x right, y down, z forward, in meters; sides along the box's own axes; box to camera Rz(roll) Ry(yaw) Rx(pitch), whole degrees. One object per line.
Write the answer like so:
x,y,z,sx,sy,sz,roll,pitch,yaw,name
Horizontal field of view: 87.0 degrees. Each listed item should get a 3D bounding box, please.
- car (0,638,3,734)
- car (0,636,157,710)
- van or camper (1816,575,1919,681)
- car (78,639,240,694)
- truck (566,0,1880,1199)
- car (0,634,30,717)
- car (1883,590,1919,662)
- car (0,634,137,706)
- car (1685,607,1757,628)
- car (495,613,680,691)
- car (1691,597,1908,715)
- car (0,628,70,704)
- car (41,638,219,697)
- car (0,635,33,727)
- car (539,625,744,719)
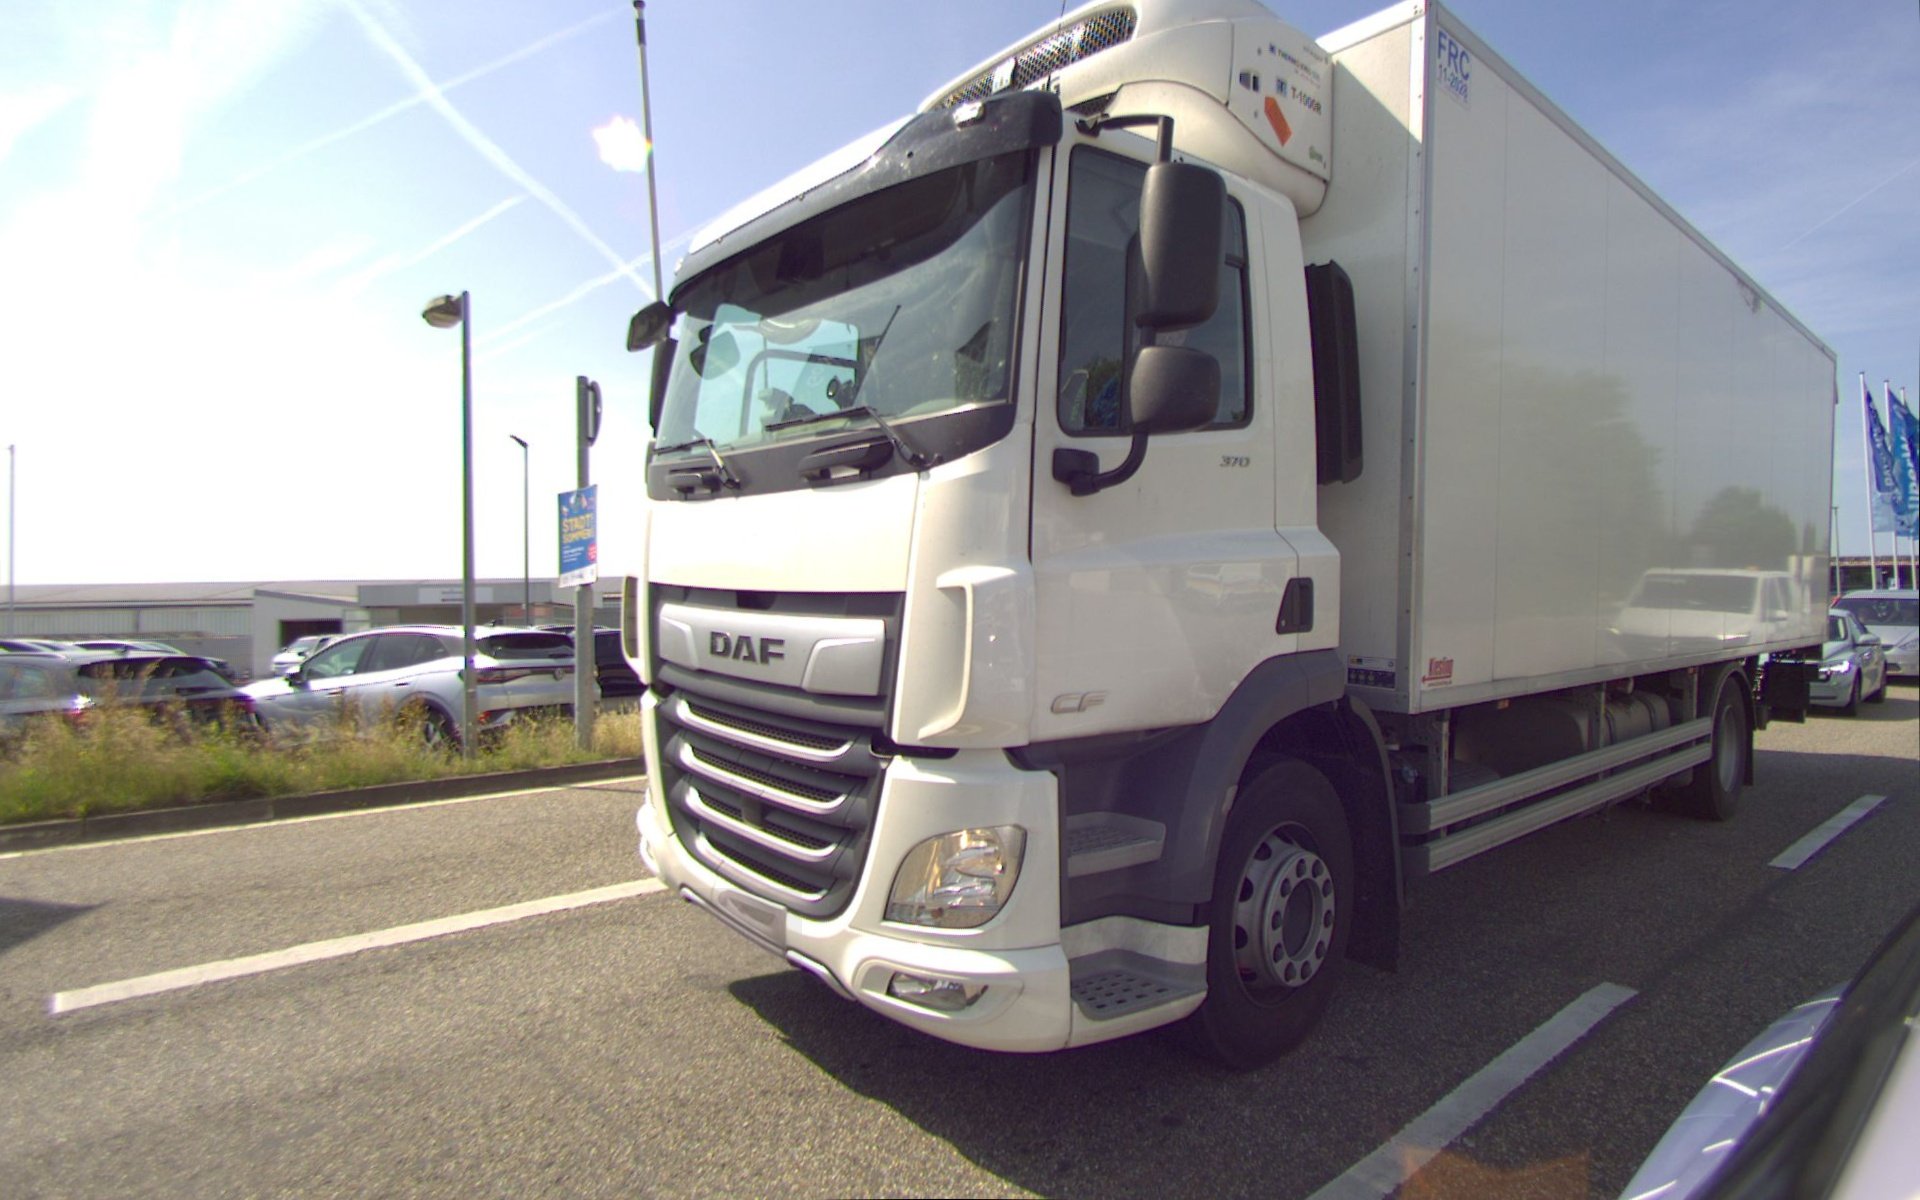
-15.746,1.321,14.022,3.533,1.427,1.561,0,1,-41,car
-21.942,1.737,24.566,3.614,1.608,1.565,0,1,-28,car
18.030,0.492,19.334,5.042,1.810,1.749,0,-1,-40,van or camper
-24.724,2.022,31.374,3.611,1.519,1.567,0,0,-17,car
3.372,-0.369,6.839,10.946,3.860,2.884,0,-1,-41,truck
-18.885,1.394,17.885,3.533,1.427,1.561,0,1,-41,car
22.791,0.581,23.211,3.645,1.592,1.806,0,1,-38,car
-20.786,1.547,22.573,3.618,1.427,1.564,0,1,-34,car
54.711,1.278,72.832,1.785,1.477,4.050,1,-1,-7,car
-8.677,1.153,23.741,3.793,1.614,1.561,0,1,-41,car
12.058,0.706,14.447,4.151,1.447,1.737,0,-1,-41,car
-20.209,1.321,20.049,3.615,1.427,1.565,0,1,-30,car
-23.723,1.894,29.052,3.611,1.519,1.567,0,0,-17,car
-17.243,1.348,16.166,3.533,1.427,1.561,0,1,-41,car
-6.661,1.440,21.368,3.793,1.678,1.690,0,1,-41,car
